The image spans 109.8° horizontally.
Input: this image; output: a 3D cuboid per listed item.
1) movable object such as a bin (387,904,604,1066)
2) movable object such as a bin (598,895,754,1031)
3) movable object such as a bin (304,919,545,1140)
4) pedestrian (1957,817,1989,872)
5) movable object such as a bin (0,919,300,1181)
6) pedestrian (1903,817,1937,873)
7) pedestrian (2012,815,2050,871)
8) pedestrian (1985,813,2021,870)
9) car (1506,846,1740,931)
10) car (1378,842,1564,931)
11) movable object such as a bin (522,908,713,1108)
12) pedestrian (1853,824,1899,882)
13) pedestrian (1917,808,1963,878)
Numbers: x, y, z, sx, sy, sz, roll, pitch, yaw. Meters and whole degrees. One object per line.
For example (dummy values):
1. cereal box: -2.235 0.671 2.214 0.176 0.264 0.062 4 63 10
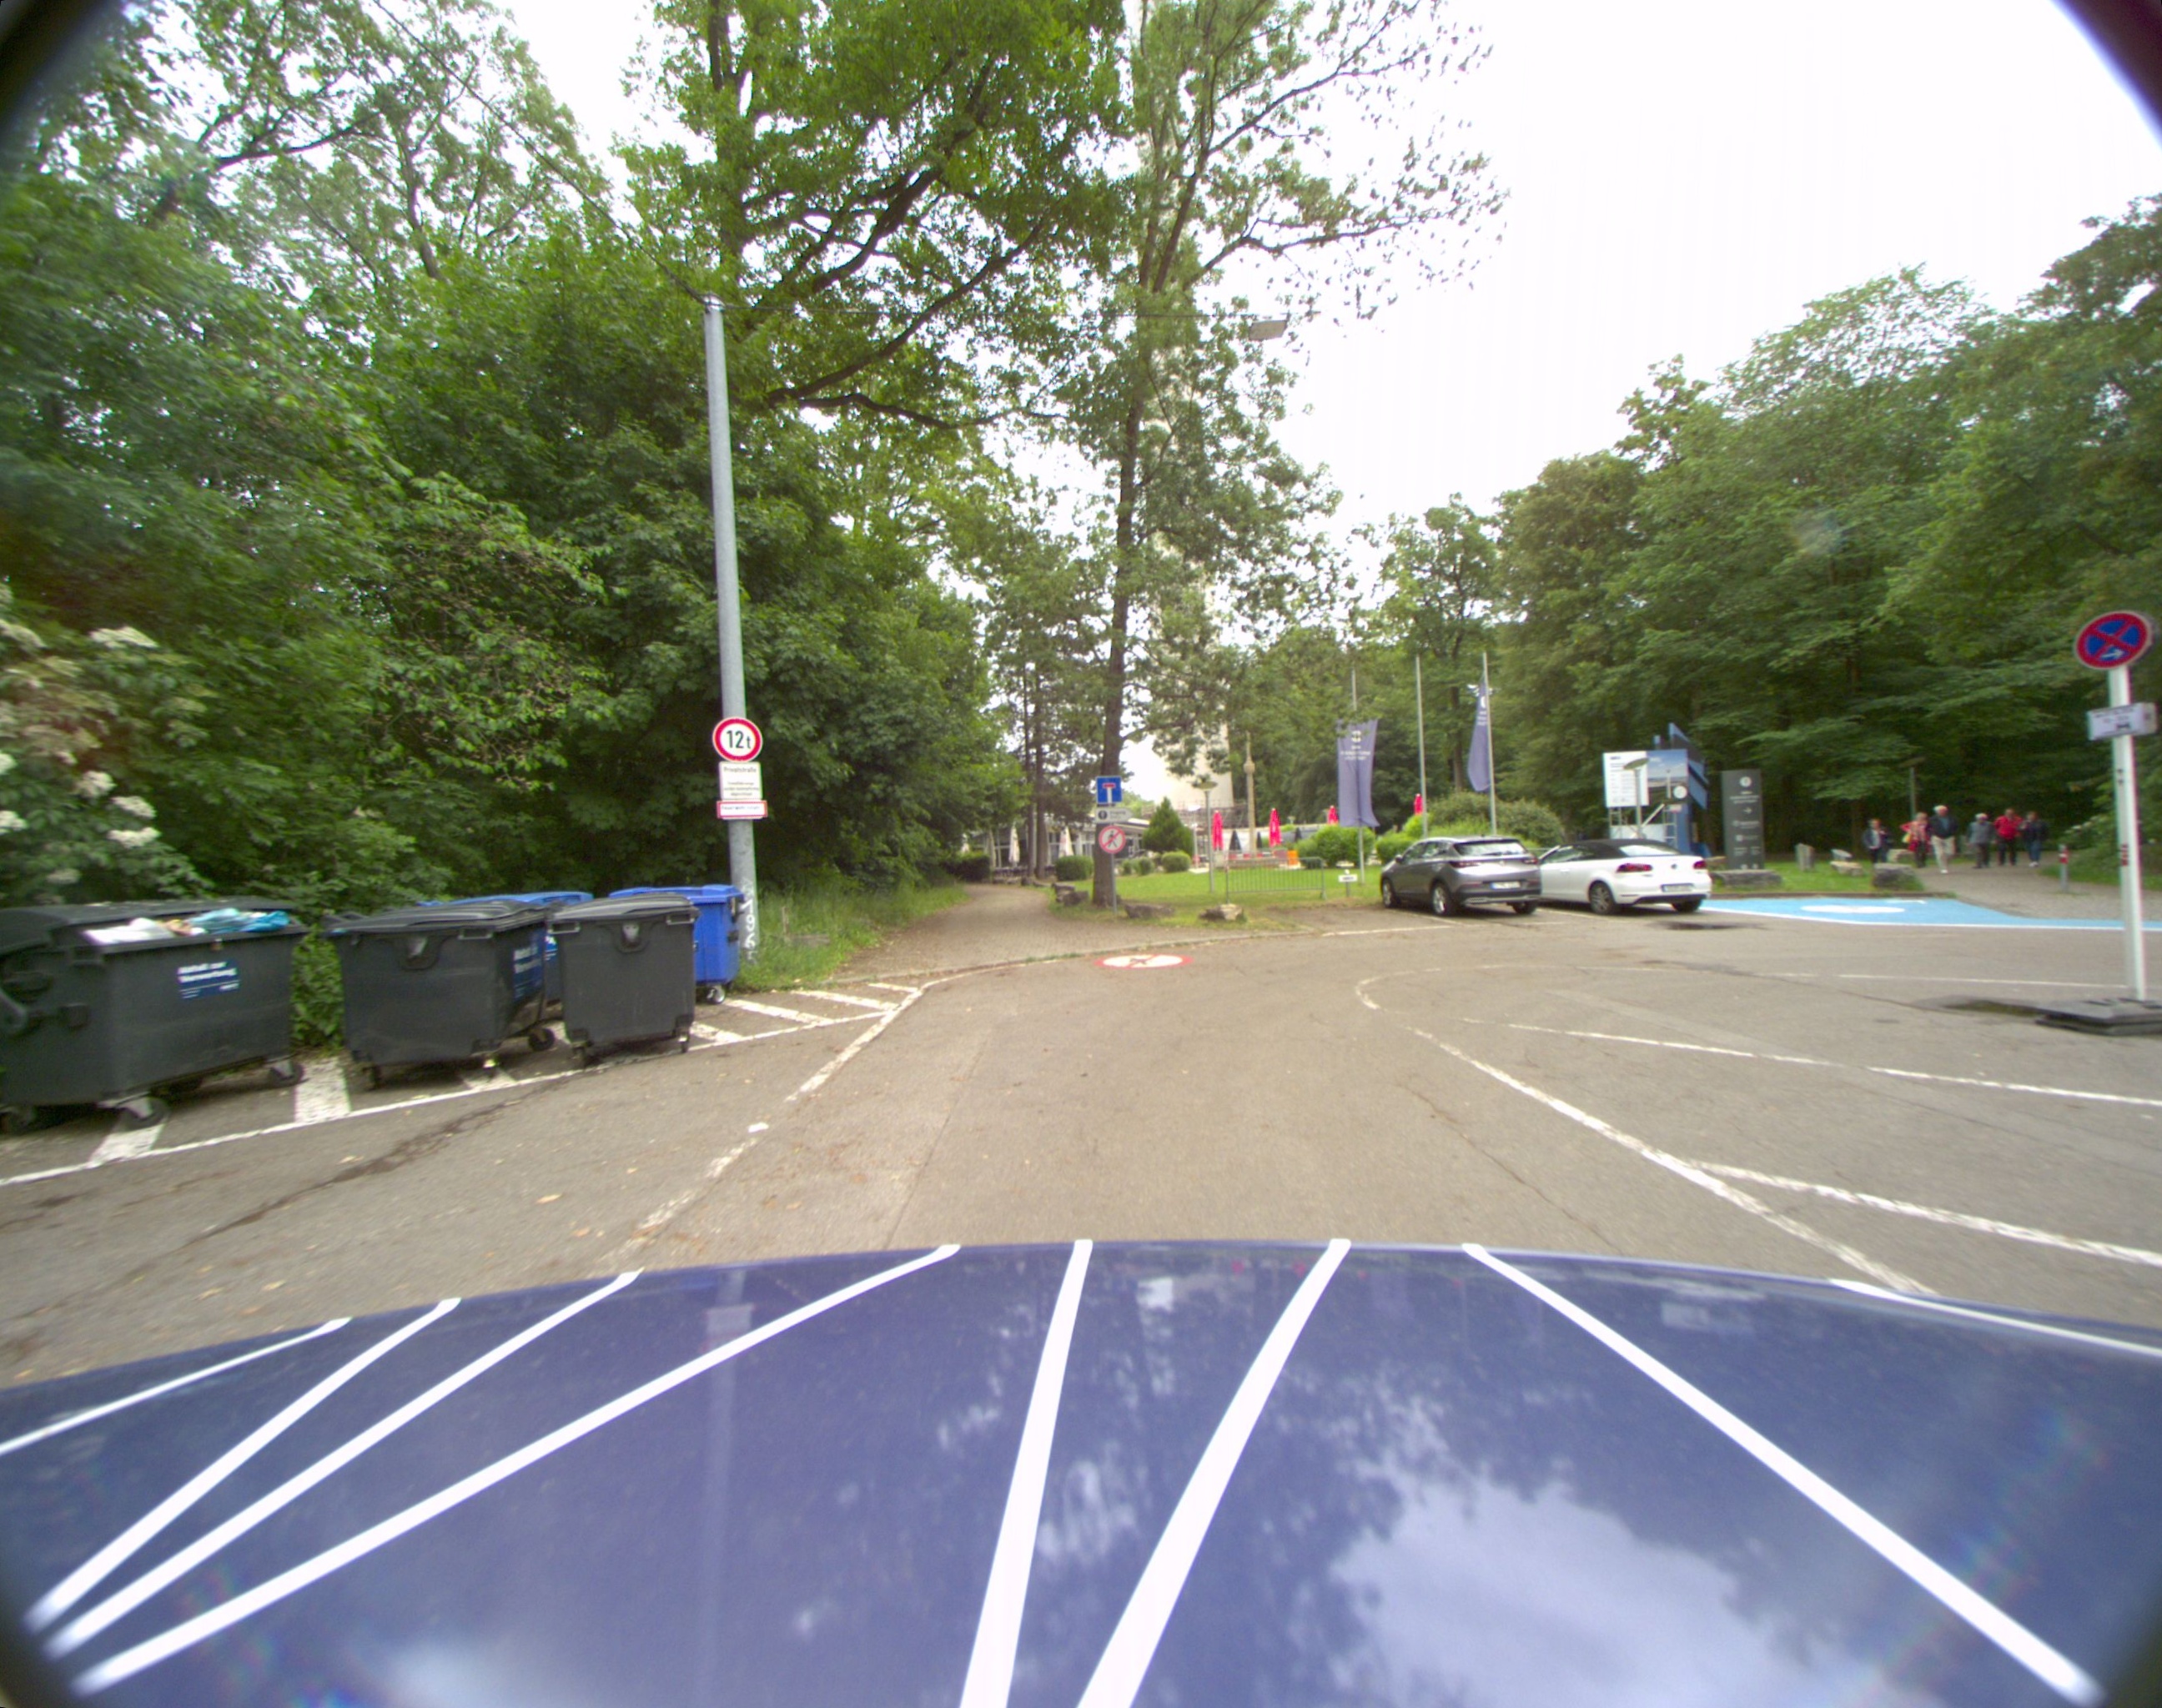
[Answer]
1. movable object such as a bin: -5.606 1.208 7.397 1.126 1.312 1.239 -2 0 -5
2. movable object such as a bin: -4.547 1.184 8.664 1.257 1.317 1.145 -2 0 -12
3. movable object such as a bin: -4.865 1.222 5.777 1.128 1.307 1.182 -3 0 -30
4. pedestrian: 27.746 -0.297 23.629 0.606 1.663 0.607 -3 1 -40
5. movable object such as a bin: -6.325 1.205 5.004 1.126 1.417 1.131 -2 0 3
6. pedestrian: 27.175 -0.289 24.623 0.606 1.751 0.682 -3 1 -40
7. pedestrian: 29.108 -0.332 23.283 0.664 1.663 0.680 -3 1 -40
8. pedestrian: 29.327 -0.394 24.178 0.715 1.758 0.680 -3 1 -40
9. car: 10.661 0.605 15.371 1.898 1.420 4.000 -2 0 1
10. car: 7.983 0.592 16.041 1.897 1.576 4.000 -2 0 1
11. movable object such as a bin: -3.781 1.163 6.298 1.174 1.299 1.310 -3 0 -30
12. pedestrian: 22.681 -0.033 21.677 0.638 1.624 0.777 -3 1 -35
13. pedestrian: 24.054 -0.305 21.280 0.669 1.905 0.732 -3 1 -35
